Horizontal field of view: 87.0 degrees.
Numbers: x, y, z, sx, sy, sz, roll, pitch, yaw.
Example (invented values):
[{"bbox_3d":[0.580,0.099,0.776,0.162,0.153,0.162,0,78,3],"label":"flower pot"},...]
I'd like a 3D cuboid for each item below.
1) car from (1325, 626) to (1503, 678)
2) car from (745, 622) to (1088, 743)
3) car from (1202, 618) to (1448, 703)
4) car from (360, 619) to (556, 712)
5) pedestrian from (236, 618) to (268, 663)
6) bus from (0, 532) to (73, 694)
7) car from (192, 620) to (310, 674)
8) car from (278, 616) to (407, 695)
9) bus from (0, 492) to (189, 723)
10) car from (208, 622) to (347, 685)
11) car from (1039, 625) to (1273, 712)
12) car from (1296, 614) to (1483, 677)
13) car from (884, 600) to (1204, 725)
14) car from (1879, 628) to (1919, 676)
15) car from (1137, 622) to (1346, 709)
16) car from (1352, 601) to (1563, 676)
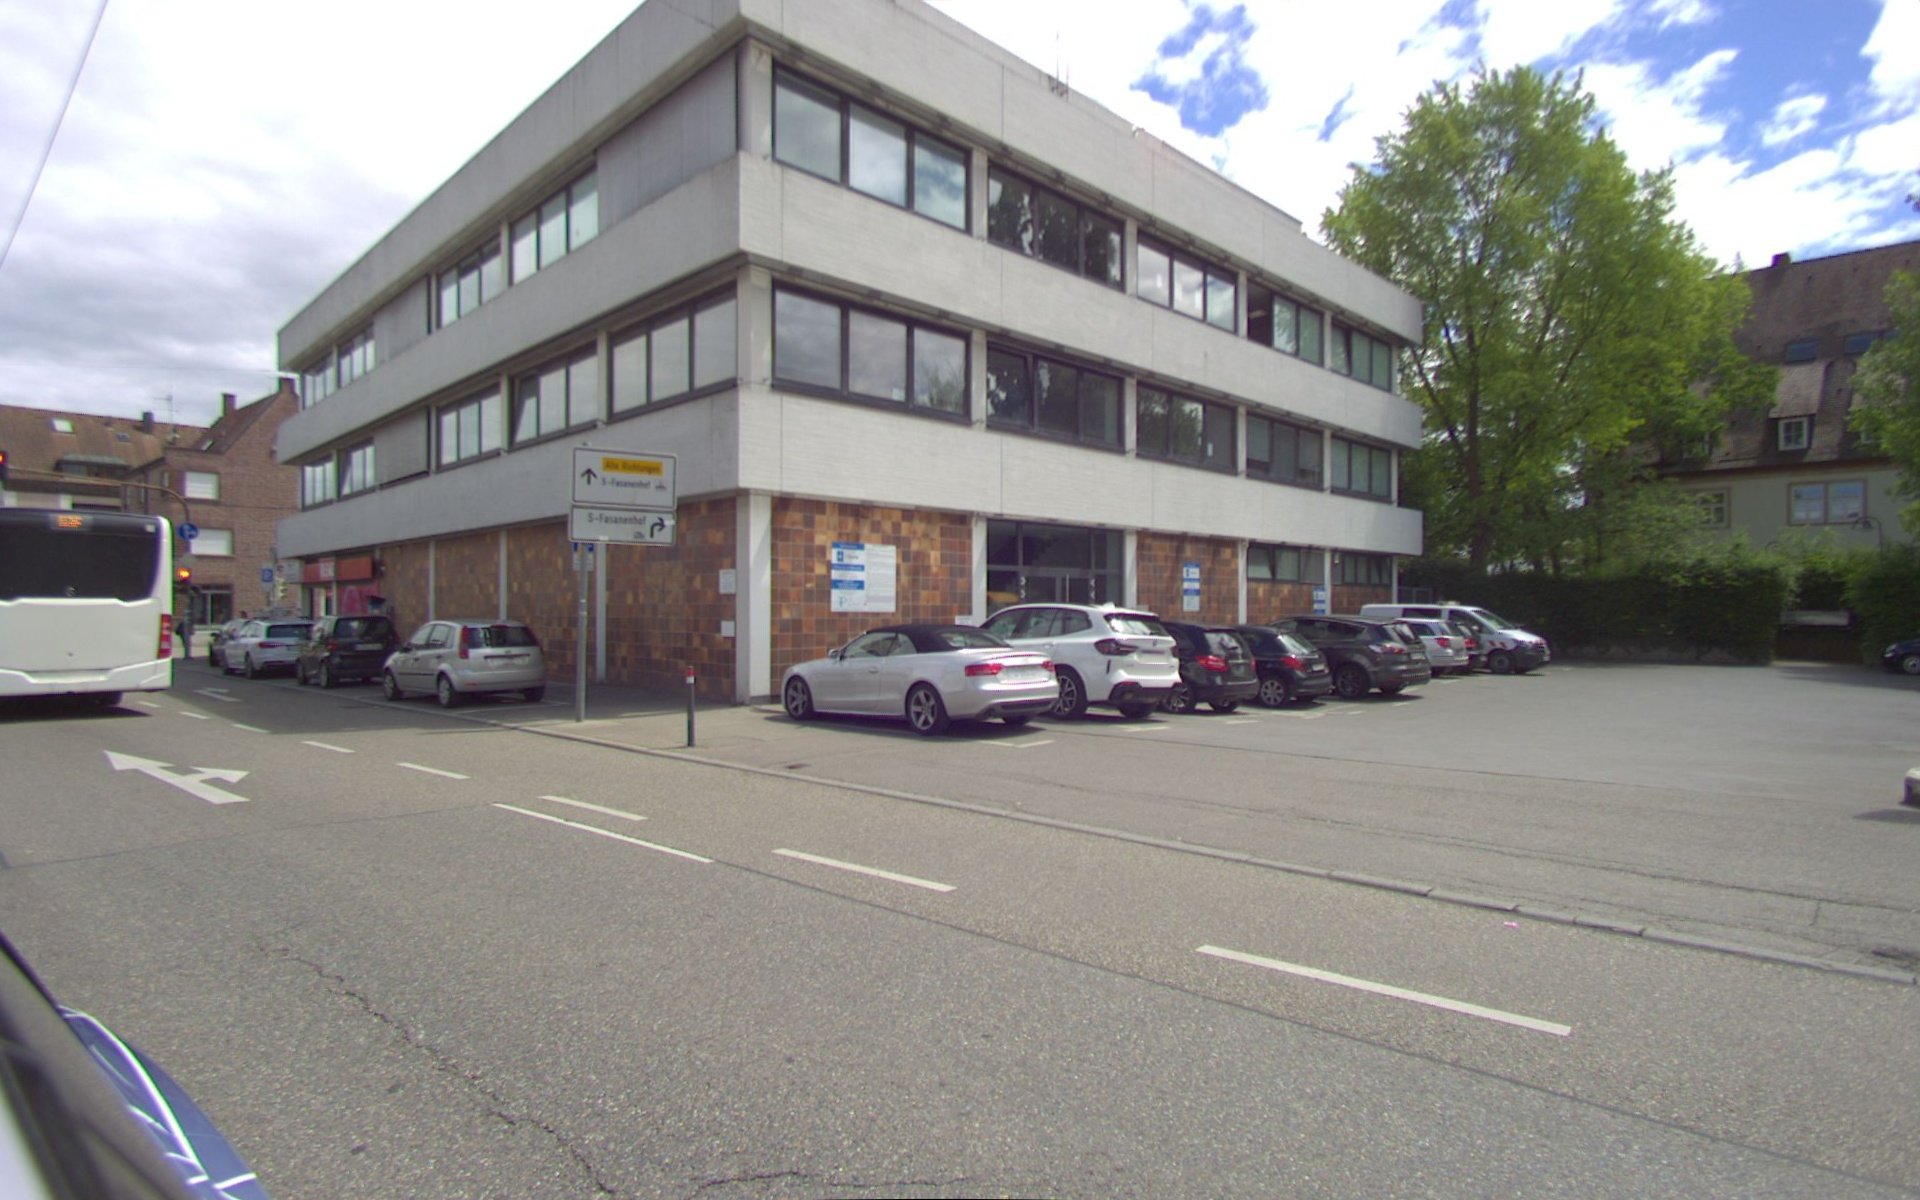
[{"bbox_3d":[12.217,1.353,27.372,1.824,1.304,4.003,1,-2,-44],"label":"car"},{"bbox_3d":[-0.770,0.995,13.916,4.857,1.368,1.929,-1,-2,45],"label":"car"},{"bbox_3d":[7.586,1.209,21.335,4.497,1.590,1.900,-2,-2,44],"label":"car"},{"bbox_3d":[-9.037,1.084,18.061,4.146,1.433,1.704,-1,-1,42],"label":"car"},{"bbox_3d":[-25.901,1.471,37.016,0.809,1.566,0.846,-1,0,-44],"label":"pedestrian"},{"bbox_3d":[-22.869,0.326,22.975,10.177,3.188,2.654,-1,-2,41],"label":"bus"},{"bbox_3d":[-21.441,1.365,30.541,4.284,1.486,2.022,-1,-1,42],"label":"car"},{"bbox_3d":[-13.686,1.173,22.374,3.057,1.567,1.717,-1,-1,44],"label":"car"},{"bbox_3d":[-15.904,0.168,17.116,8.059,3.188,2.689,-1,-2,39],"label":"bus"},{"bbox_3d":[-17.853,1.322,26.365,4.953,1.455,2.021,-1,-1,44],"label":"car"},{"bbox_3d":[3.321,1.107,17.510,3.604,1.341,1.744,-1,-2,43],"label":"car"},{"bbox_3d":[10.856,1.111,25.773,1.824,1.472,4.003,1,-2,-44],"label":"car"},{"bbox_3d":[1.132,0.931,15.701,1.928,1.632,4.934,4,-4,-43],"label":"car"},{"bbox_3d":[26.743,1.401,27.088,1.399,1.193,3.040,-3,1,-43],"label":"car"},{"bbox_3d":[5.514,1.227,20.026,3.604,1.558,1.744,-1,-2,43],"label":"car"},{"bbox_3d":[14.176,1.065,29.107,1.945,1.956,5.093,1,-2,-44],"label":"car"}]
